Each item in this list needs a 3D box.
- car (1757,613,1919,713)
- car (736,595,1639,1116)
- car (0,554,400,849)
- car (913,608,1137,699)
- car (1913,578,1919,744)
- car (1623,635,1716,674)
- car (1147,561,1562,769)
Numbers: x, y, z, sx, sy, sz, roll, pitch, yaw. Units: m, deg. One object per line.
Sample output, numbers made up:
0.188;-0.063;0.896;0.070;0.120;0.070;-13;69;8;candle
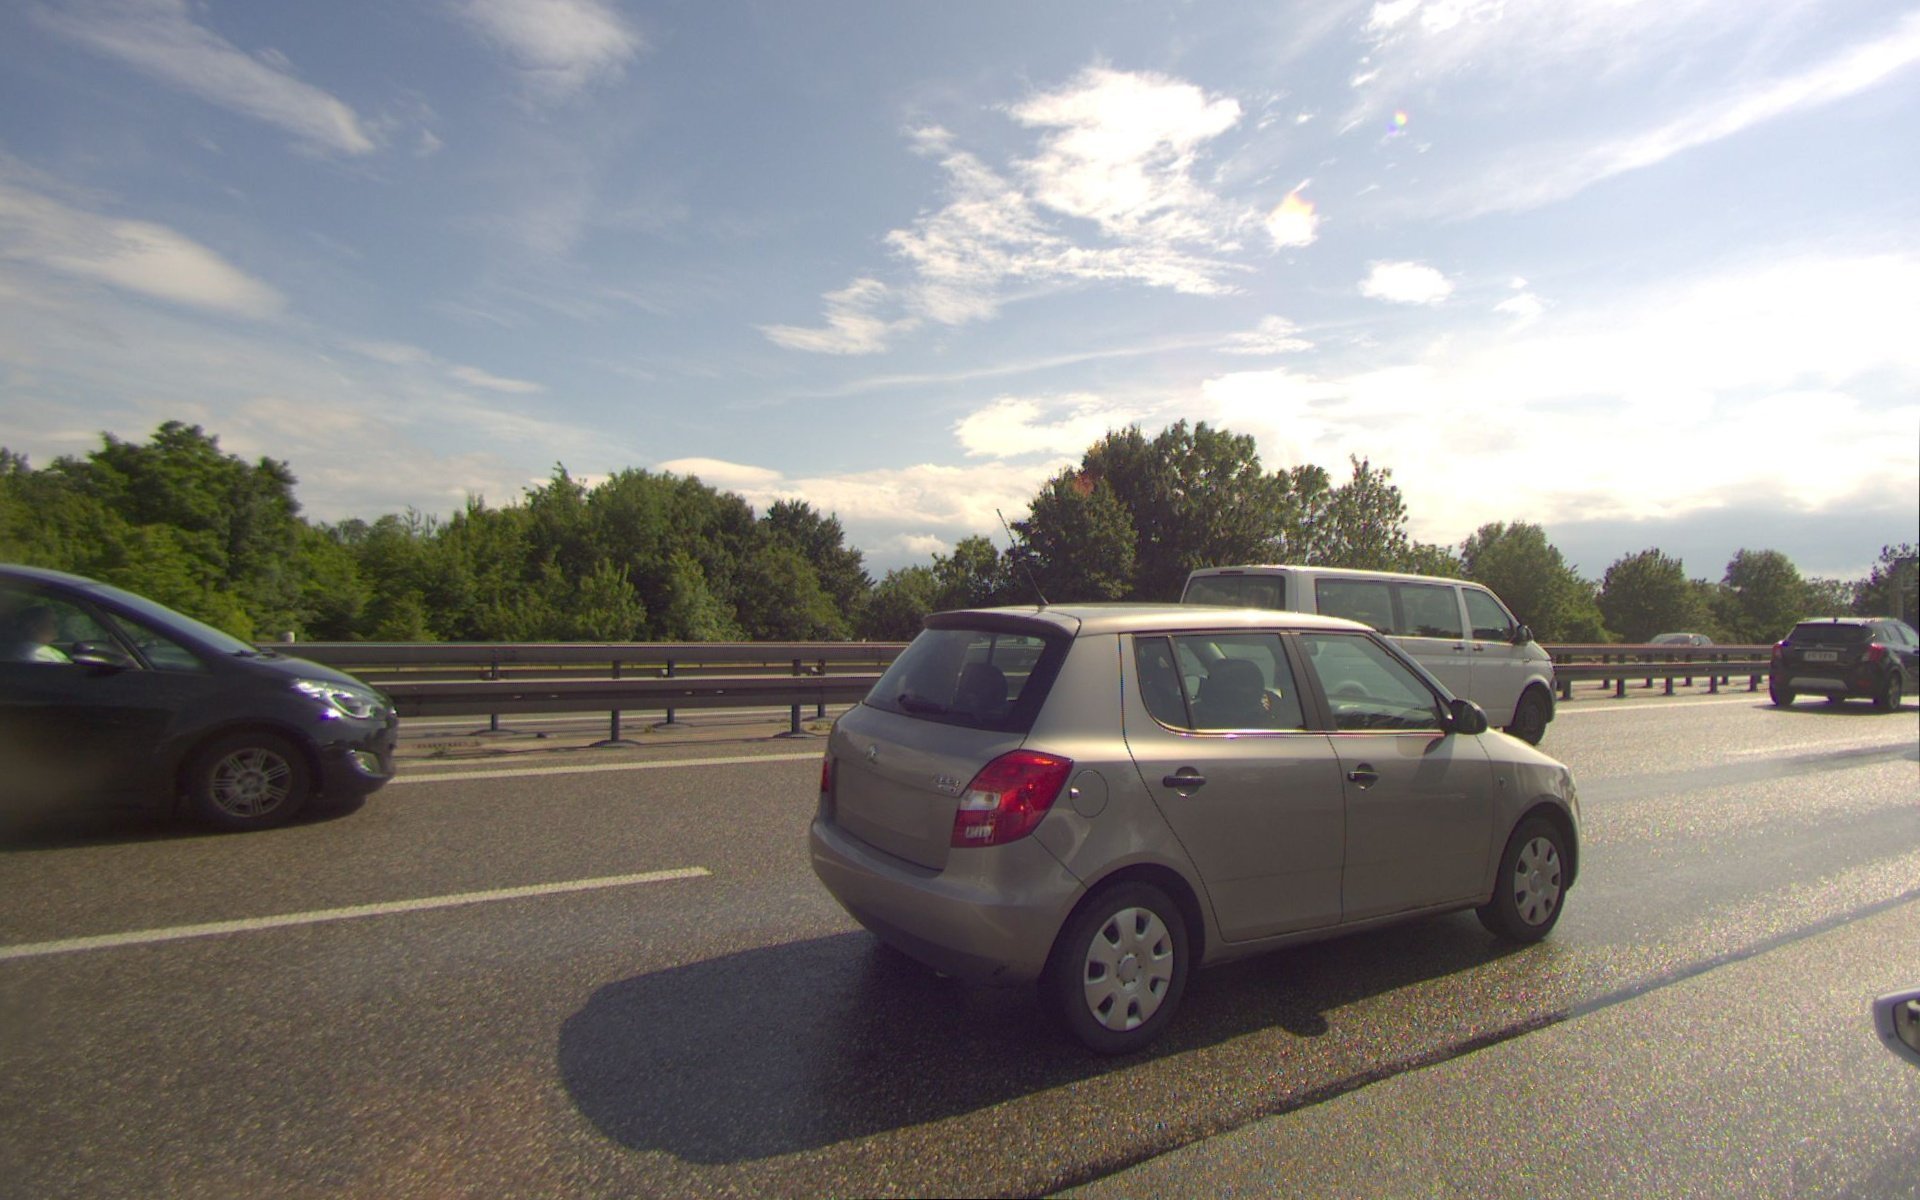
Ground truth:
16.999;1.146;19.094;3.958;1.684;1.761;2;0;-34;car
1.105;0.763;4.677;3.781;1.477;1.978;1;0;-30;car
-5.716;0.546;6.181;3.873;1.599;1.773;1;0;-32;car
1.263;0.972;18.966;3.953;1.537;1.695;1;0;-30;car
13.916;0.814;12.686;3.958;2.040;1.865;2;0;-34;car
27.313;2.062;38.661;3.401;1.372;1.680;1;0;-31;car
4.643;0.662;11.544;4.960;1.959;1.838;1;0;-32;car
